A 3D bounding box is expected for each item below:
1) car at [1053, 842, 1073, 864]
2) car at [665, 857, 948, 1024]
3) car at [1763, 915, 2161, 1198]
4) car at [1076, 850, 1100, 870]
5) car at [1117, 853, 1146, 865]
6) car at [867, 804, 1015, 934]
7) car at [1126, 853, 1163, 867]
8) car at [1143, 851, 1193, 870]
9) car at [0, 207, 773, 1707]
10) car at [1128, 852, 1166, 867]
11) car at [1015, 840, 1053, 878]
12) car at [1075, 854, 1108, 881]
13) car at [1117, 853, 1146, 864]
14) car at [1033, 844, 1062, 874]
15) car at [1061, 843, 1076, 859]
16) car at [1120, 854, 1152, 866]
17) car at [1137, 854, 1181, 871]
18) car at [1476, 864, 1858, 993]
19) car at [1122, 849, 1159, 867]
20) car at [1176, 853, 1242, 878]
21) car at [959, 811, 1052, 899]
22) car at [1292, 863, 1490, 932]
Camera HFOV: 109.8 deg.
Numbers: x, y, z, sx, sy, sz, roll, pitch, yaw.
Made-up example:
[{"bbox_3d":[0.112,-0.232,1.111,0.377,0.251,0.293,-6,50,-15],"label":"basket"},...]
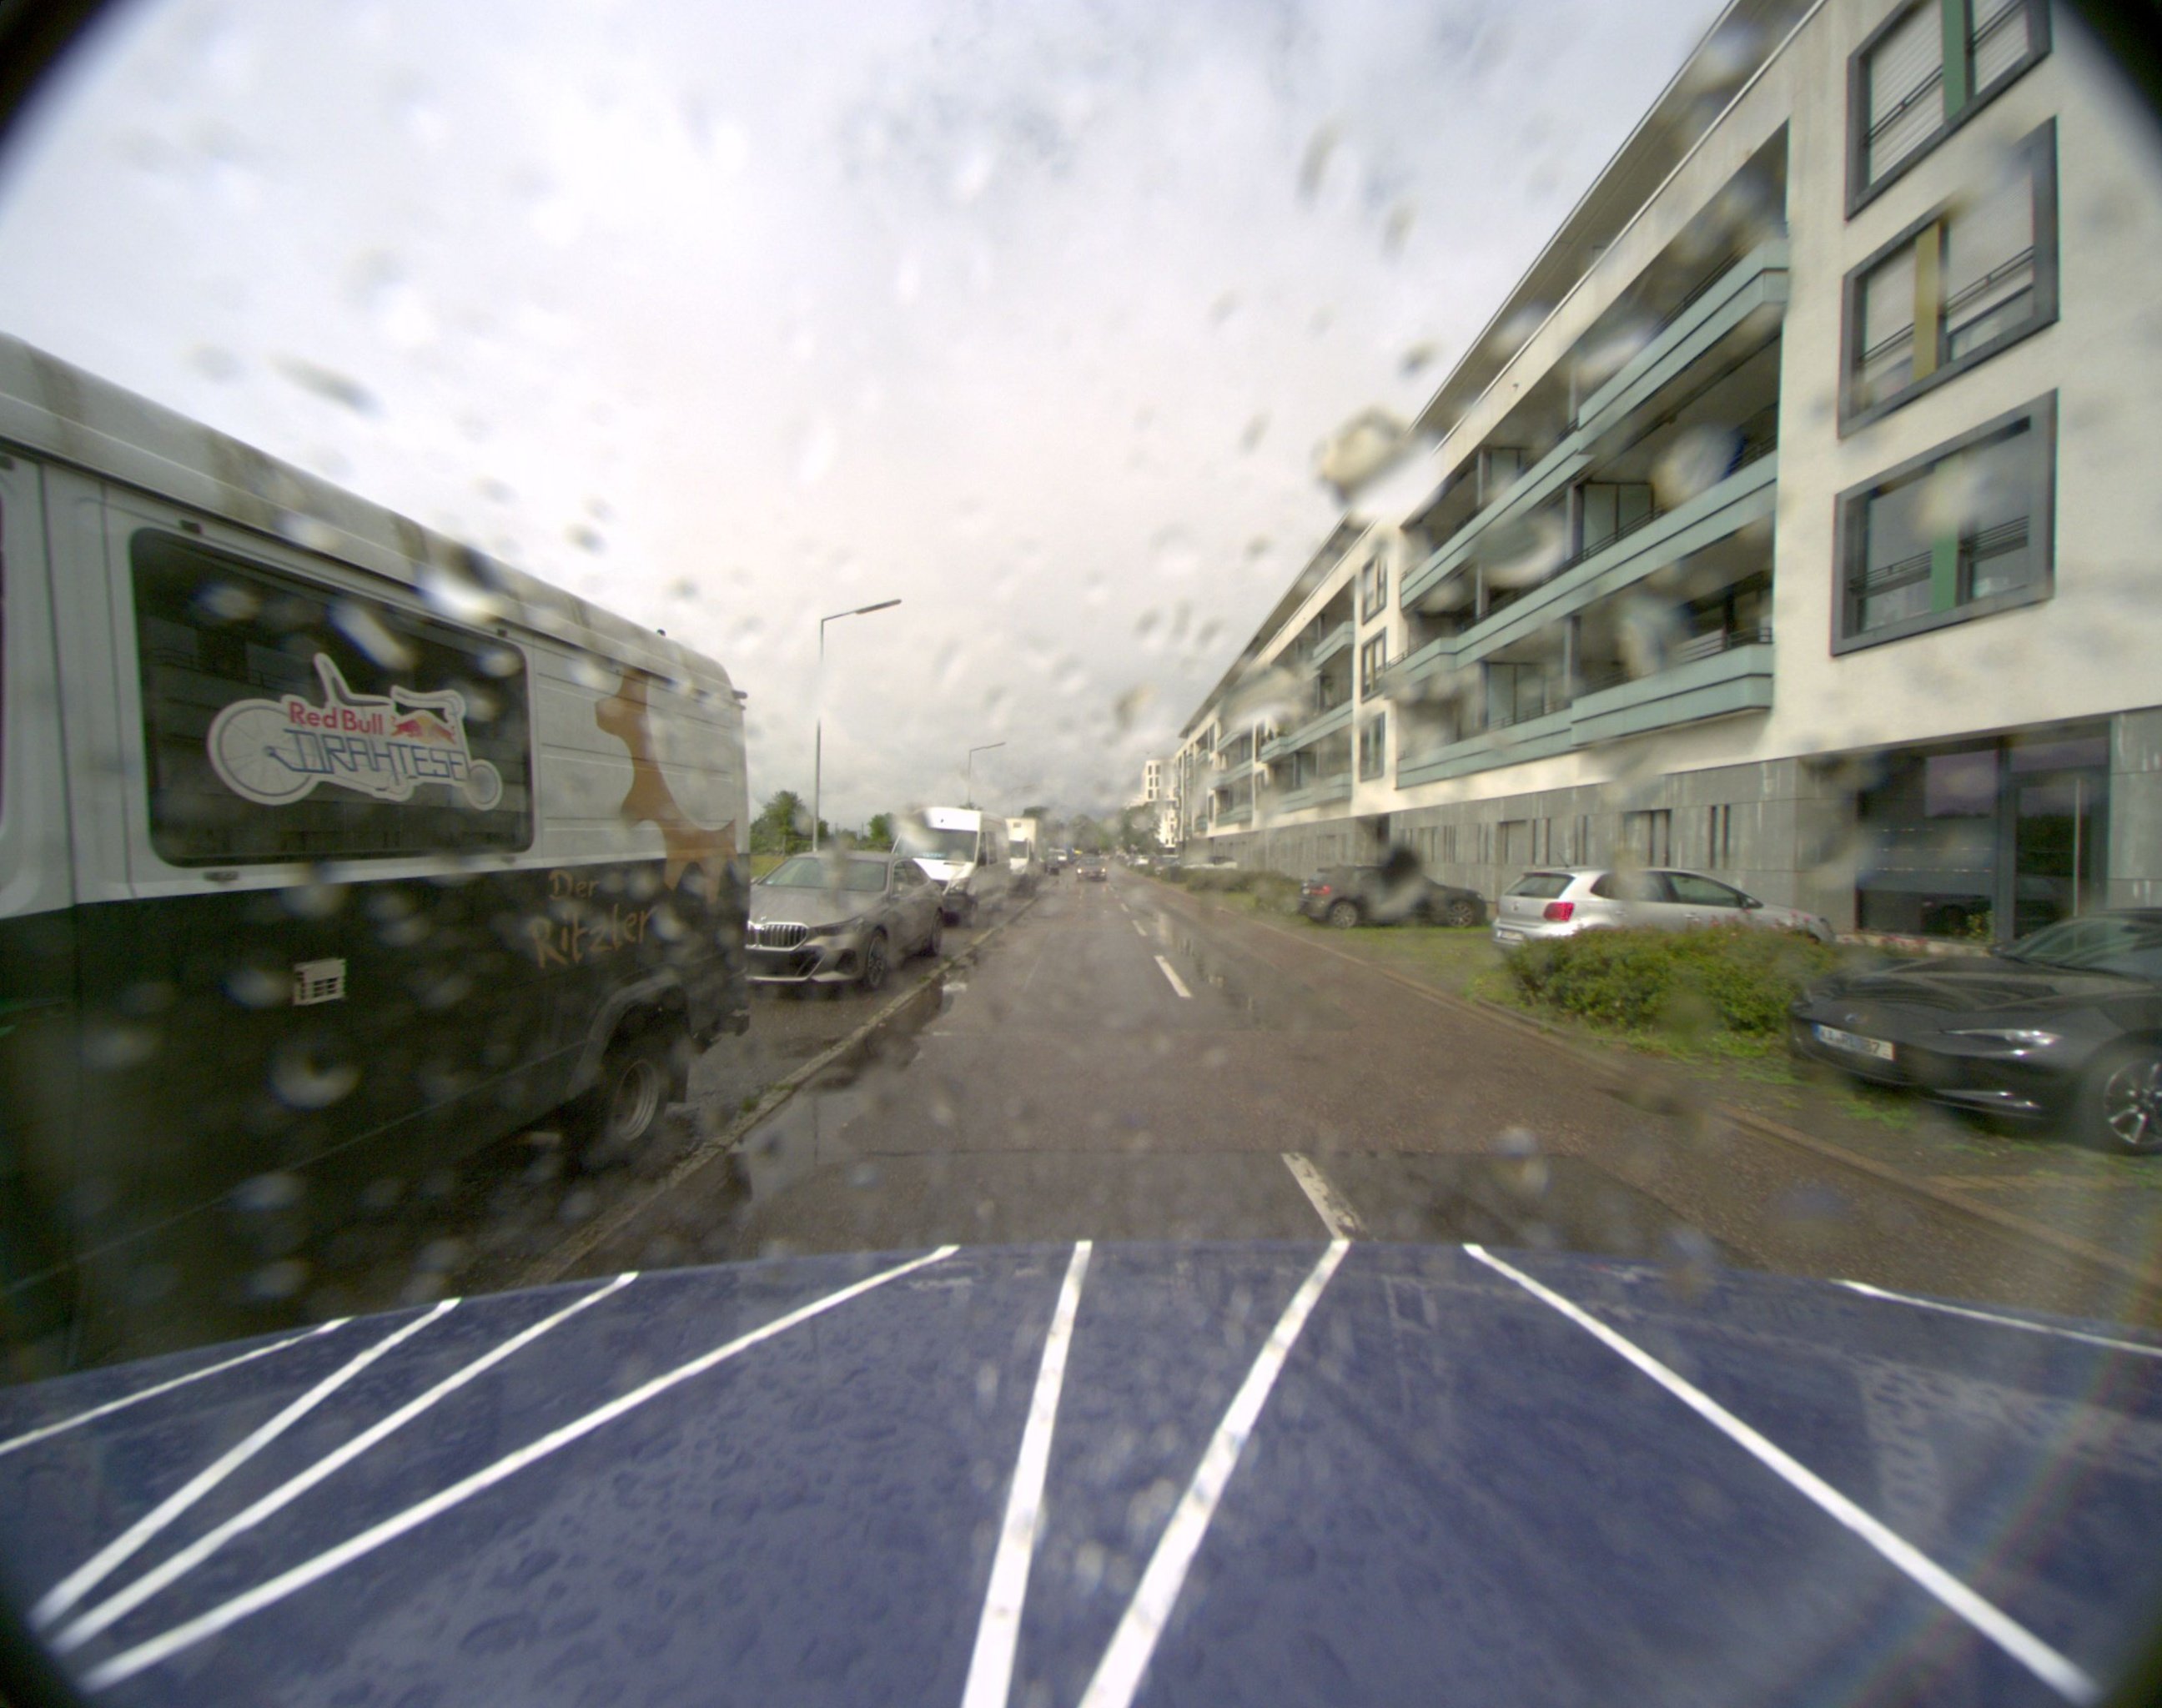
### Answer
[{"bbox_3d":[-1.898,-0.108,81.211,1.998,2.228,4.563,1,0,1],"label":"car"},{"bbox_3d":[-3.013,0.838,9.471,1.734,1.485,4.441,2,0,2],"label":"car"},{"bbox_3d":[6.616,1.065,4.588,3.614,1.176,1.539,-2,1,0],"label":"car"},{"bbox_3d":[0.660,0.540,69.145,2.010,1.695,4.329,1,0,1],"label":"car"},{"bbox_3d":[6.912,0.671,103.551,3.798,1.363,1.744,-2,1,0],"label":"car"},{"bbox_3d":[-3.094,0.297,18.508,2.073,2.514,6.658,2,0,2],"label":"car"},{"bbox_3d":[6.867,0.671,82.123,3.798,1.363,1.744,-2,1,0],"label":"car"},{"bbox_3d":[7.071,0.536,61.827,3.798,1.363,1.744,-2,1,0],"label":"car"},{"bbox_3d":[-3.119,0.192,2.308,2.150,2.867,5.275,3,1,-1],"label":"car"},{"bbox_3d":[6.856,0.538,79.638,3.798,1.363,1.744,-2,1,0],"label":"car"},{"bbox_3d":[-2.847,0.307,47.281,1.998,2.228,4.563,1,0,1],"label":"car"},{"bbox_3d":[0.667,0.821,46.483,1.874,1.510,4.358,-2,0,1],"label":"car"},{"bbox_3d":[7.092,0.627,106.891,3.798,1.363,1.744,-2,1,0],"label":"car"},{"bbox_3d":[-2.586,0.375,60.198,1.998,2.228,4.563,1,0,1],"label":"car"},{"bbox_3d":[-1.797,-0.465,112.637,1.998,2.228,4.563,1,0,1],"label":"car"},{"bbox_3d":[6.849,0.773,94.633,3.798,1.363,1.744,-2,1,0],"label":"car"},{"bbox_3d":[7.109,0.757,69.646,3.798,1.363,1.744,-2,1,0],"label":"car"},{"bbox_3d":[7.408,0.888,9.859,3.667,1.369,1.686,-2,0,-2],"label":"car"},{"bbox_3d":[6.844,0.433,87.579,3.974,1.937,1.953,-2,1,0],"label":"car"},{"bbox_3d":[7.917,0.688,47.177,3.798,1.363,1.744,-2,1,0],"label":"car"},{"bbox_3d":[-2.739,0.008,29.519,2.476,2.939,6.888,2,0,3],"label":"car"},{"bbox_3d":[6.808,0.942,16.958,3.740,1.365,1.644,-1,1,1],"label":"car"}]
